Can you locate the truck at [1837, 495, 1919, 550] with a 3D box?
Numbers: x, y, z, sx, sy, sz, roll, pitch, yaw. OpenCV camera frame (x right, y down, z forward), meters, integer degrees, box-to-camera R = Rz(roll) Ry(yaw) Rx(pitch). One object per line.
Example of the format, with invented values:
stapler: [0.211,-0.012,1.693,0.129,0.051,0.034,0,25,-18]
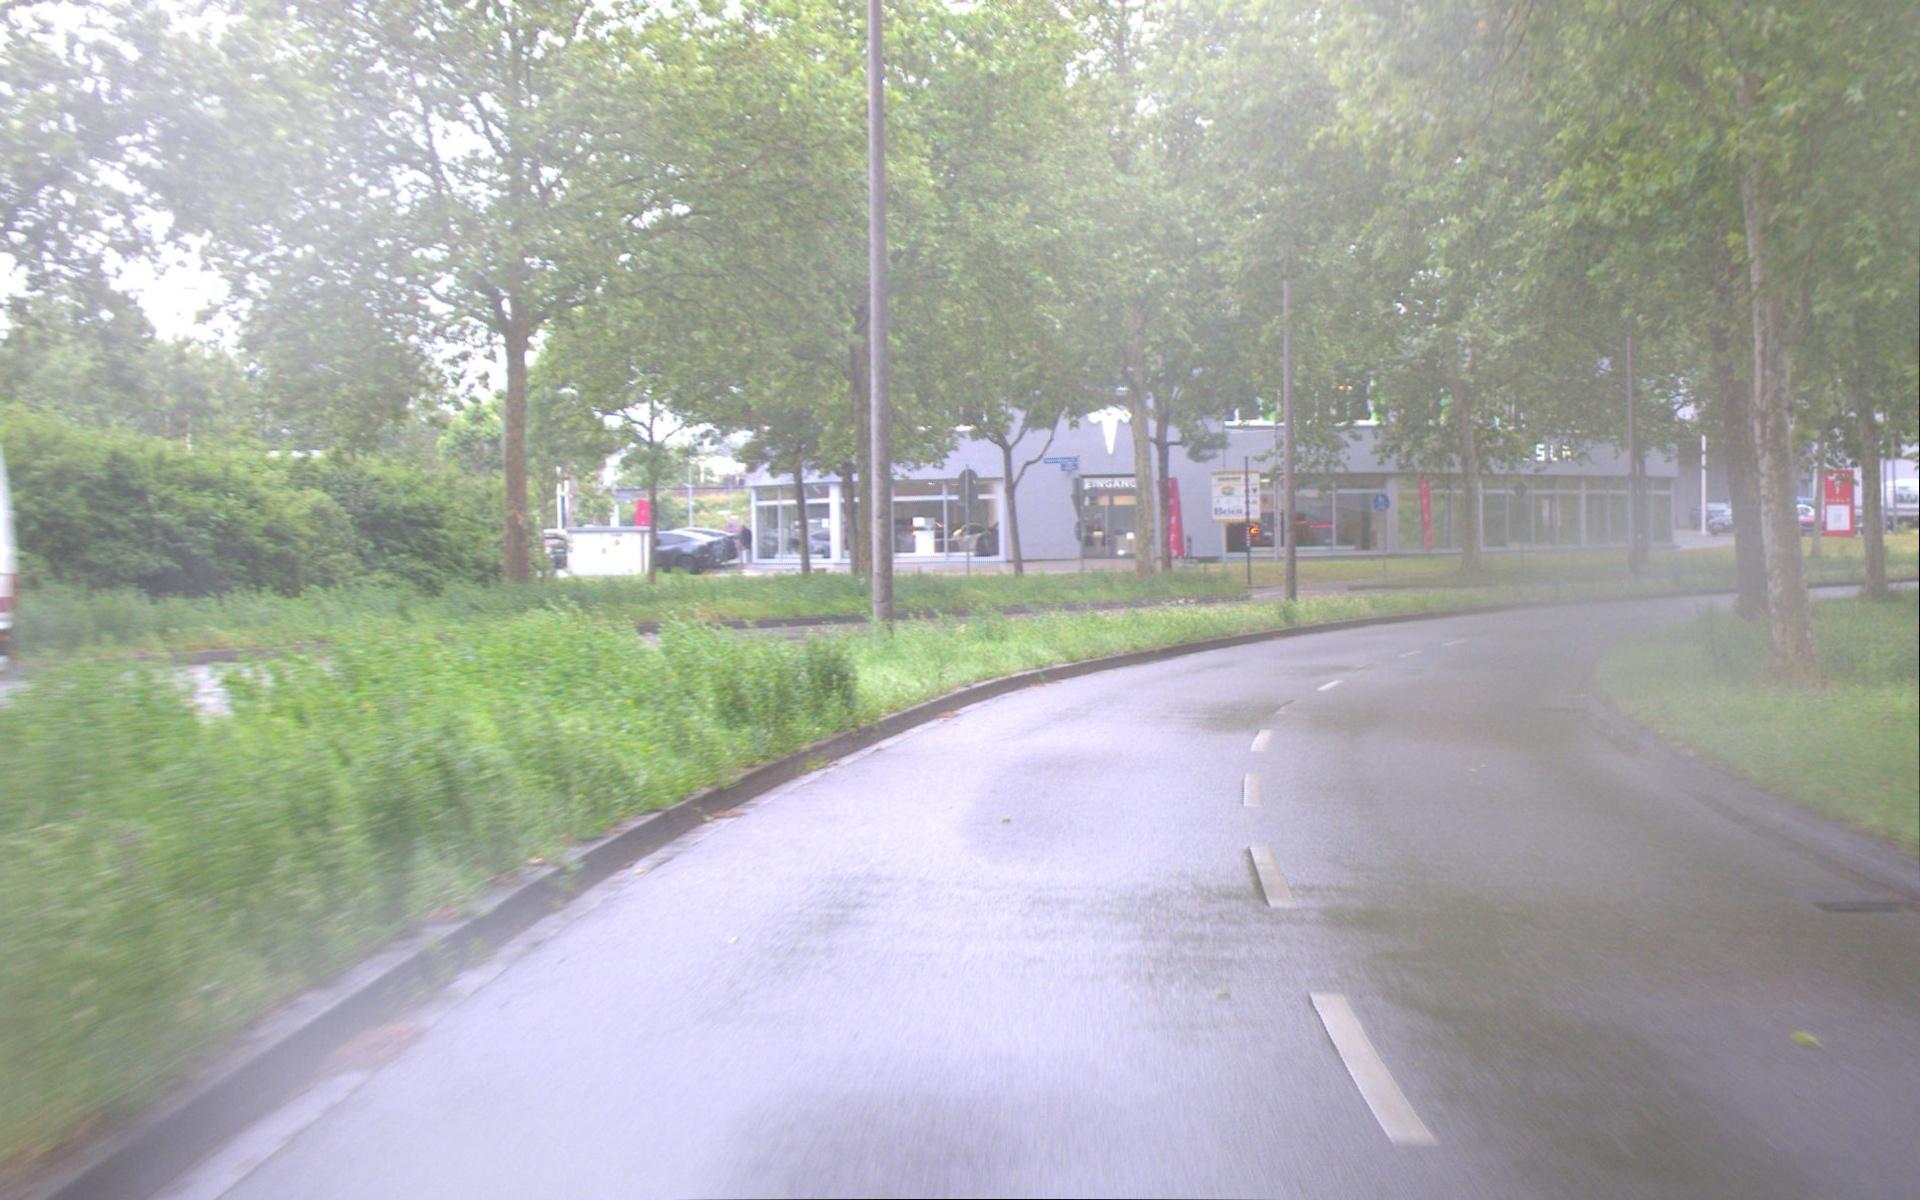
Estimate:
truck: [45.003,-3.754,165.601,6.177,2.336,2.253,-3,6,-42]

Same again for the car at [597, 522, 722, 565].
car: [-10.815,-2.039,123.850,4.193,1.489,1.597,1,1,11]

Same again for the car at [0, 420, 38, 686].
car: [-10.300,-0.378,29.115,2.279,2.418,6.357,0,1,10]

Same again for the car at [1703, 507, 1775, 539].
car: [38.888,-3.854,171.589,1.767,1.392,4.147,3,5,41]
